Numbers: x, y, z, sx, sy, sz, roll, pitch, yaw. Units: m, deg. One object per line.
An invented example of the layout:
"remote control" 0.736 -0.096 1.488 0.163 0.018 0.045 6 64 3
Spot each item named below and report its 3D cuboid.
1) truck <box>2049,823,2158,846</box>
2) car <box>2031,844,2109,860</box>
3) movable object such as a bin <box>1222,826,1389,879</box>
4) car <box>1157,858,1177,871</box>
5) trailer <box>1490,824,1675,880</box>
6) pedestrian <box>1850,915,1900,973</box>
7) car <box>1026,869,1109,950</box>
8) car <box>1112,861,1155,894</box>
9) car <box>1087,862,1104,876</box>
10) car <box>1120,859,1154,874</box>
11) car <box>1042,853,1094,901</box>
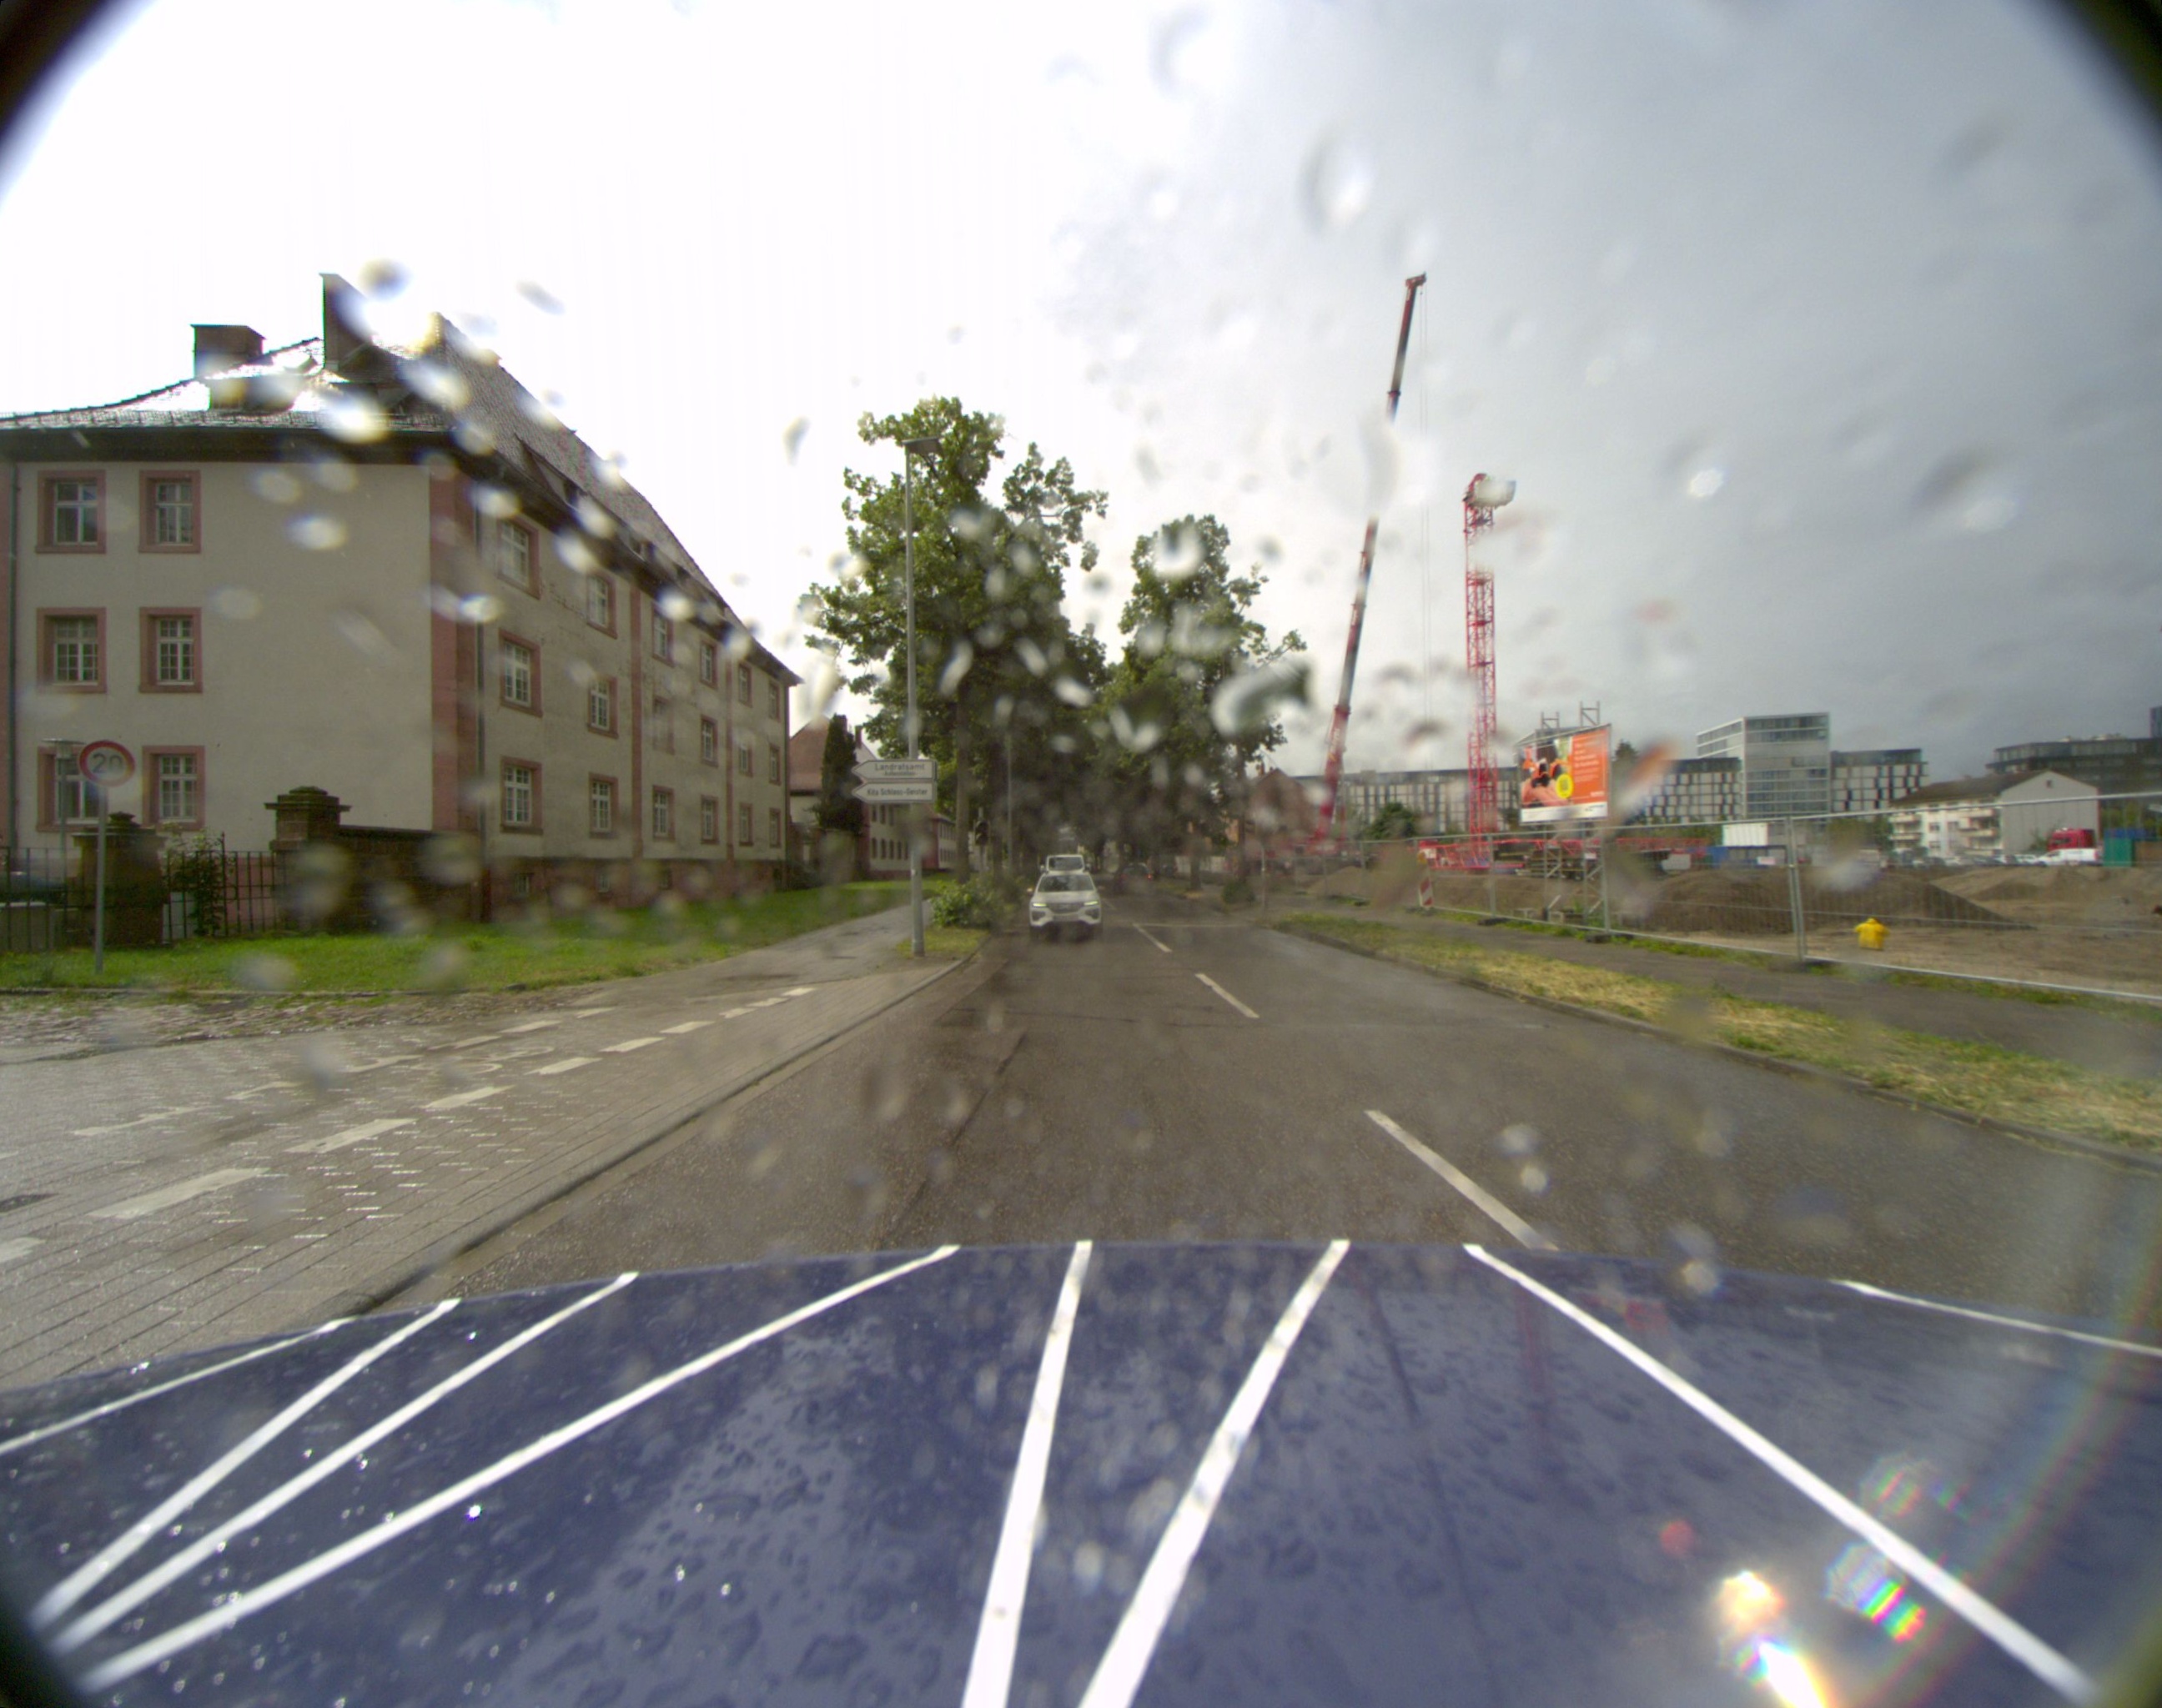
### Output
"truck" 103.295 -1.899 76.888 1.901 2.067 6.319 -3 1 -18
"car" 97.898 -0.195 75.304 1.821 1.509 4.580 -3 0 1
"movable object such as a bin" 22.689 -0.135 77.459 15.944 4.532 3.101 -3 1 1
"car" 10.874 1.354 96.108 1.693 1.521 3.998 -3 0 -4
"trailer" 34.613 -0.149 53.702 2.968 3.214 14.306 -4 0 -2
"pedestrian" 24.525 2.775 23.481 0.588 1.675 0.849 2 0 4
"car" -0.327 1.163 17.320 1.609 1.499 3.999 -2 0 -2
"car" 2.626 1.143 38.831 1.845 1.598 4.000 1 0 0
"car" 1.609 1.683 85.928 1.818 1.531 3.982 1 -1 0
"car" 6.689 1.523 91.220 3.869 1.543 1.698 -3 1 1
"car" -0.694 1.005 36.150 2.108 1.990 5.432 -3 0 -4
